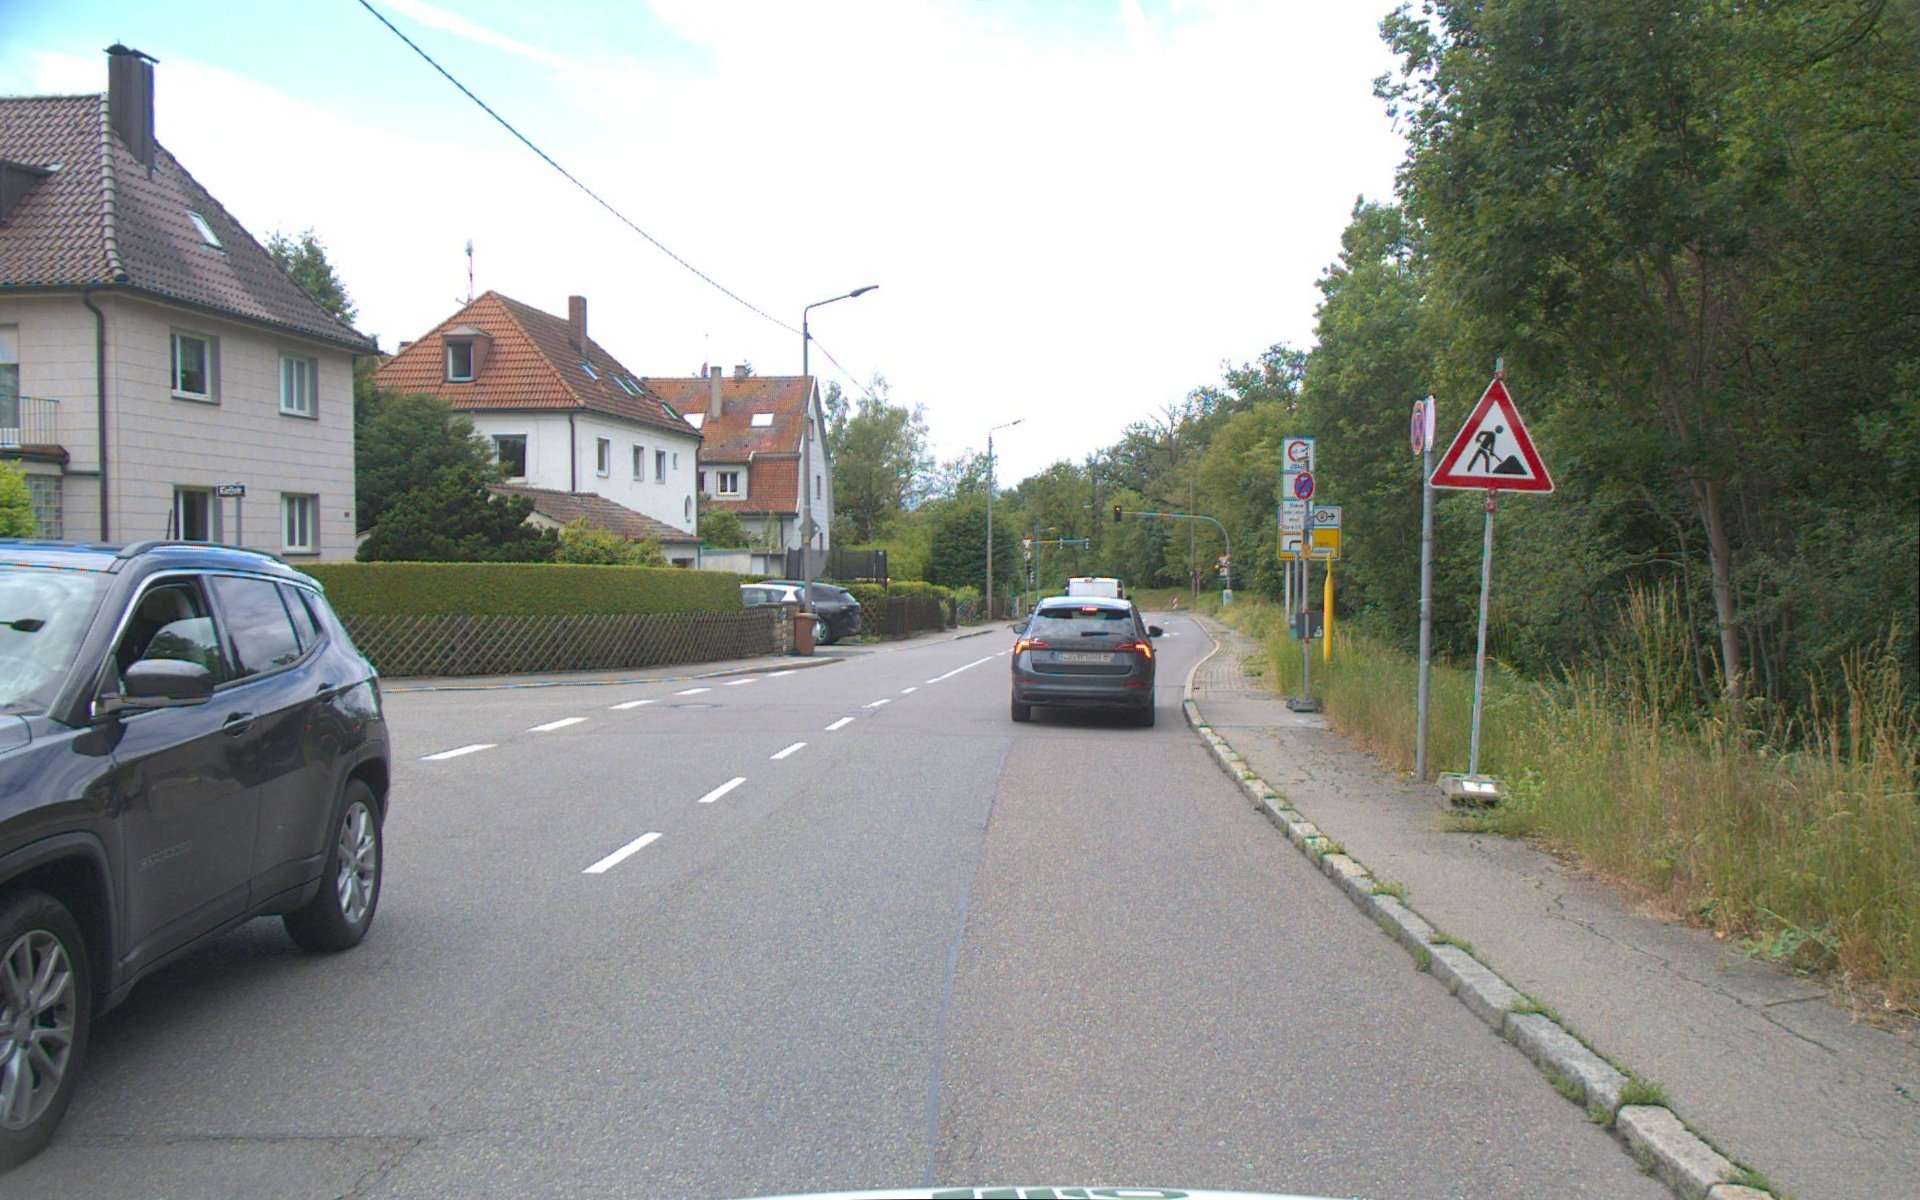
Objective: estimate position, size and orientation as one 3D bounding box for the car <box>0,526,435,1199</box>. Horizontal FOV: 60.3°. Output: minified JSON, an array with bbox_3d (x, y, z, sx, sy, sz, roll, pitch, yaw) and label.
[{"bbox_3d":[-3.252,0.604,5.413,1.797,1.625,4.322,0,1,-2],"label":"car"}]

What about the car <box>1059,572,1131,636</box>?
[{"bbox_3d":[4.292,0.112,53.400,2.029,1.956,4.923,0,0,1],"label":"car"}]

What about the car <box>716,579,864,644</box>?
[{"bbox_3d":[-4.634,0.297,45.545,3.906,1.736,1.916,0,0,-1],"label":"car"}]

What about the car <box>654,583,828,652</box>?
[{"bbox_3d":[-5.325,0.410,40.572,3.904,1.646,2.001,0,0,2],"label":"car"}]

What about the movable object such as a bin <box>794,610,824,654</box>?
[{"bbox_3d":[-3.387,0.704,37.058,0.586,0.967,0.579,0,0,3],"label":"movable object such as a bin"}]

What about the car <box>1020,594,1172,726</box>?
[{"bbox_3d":[1.663,0.669,20.734,1.691,1.464,4.326,0,0,4],"label":"car"}]
